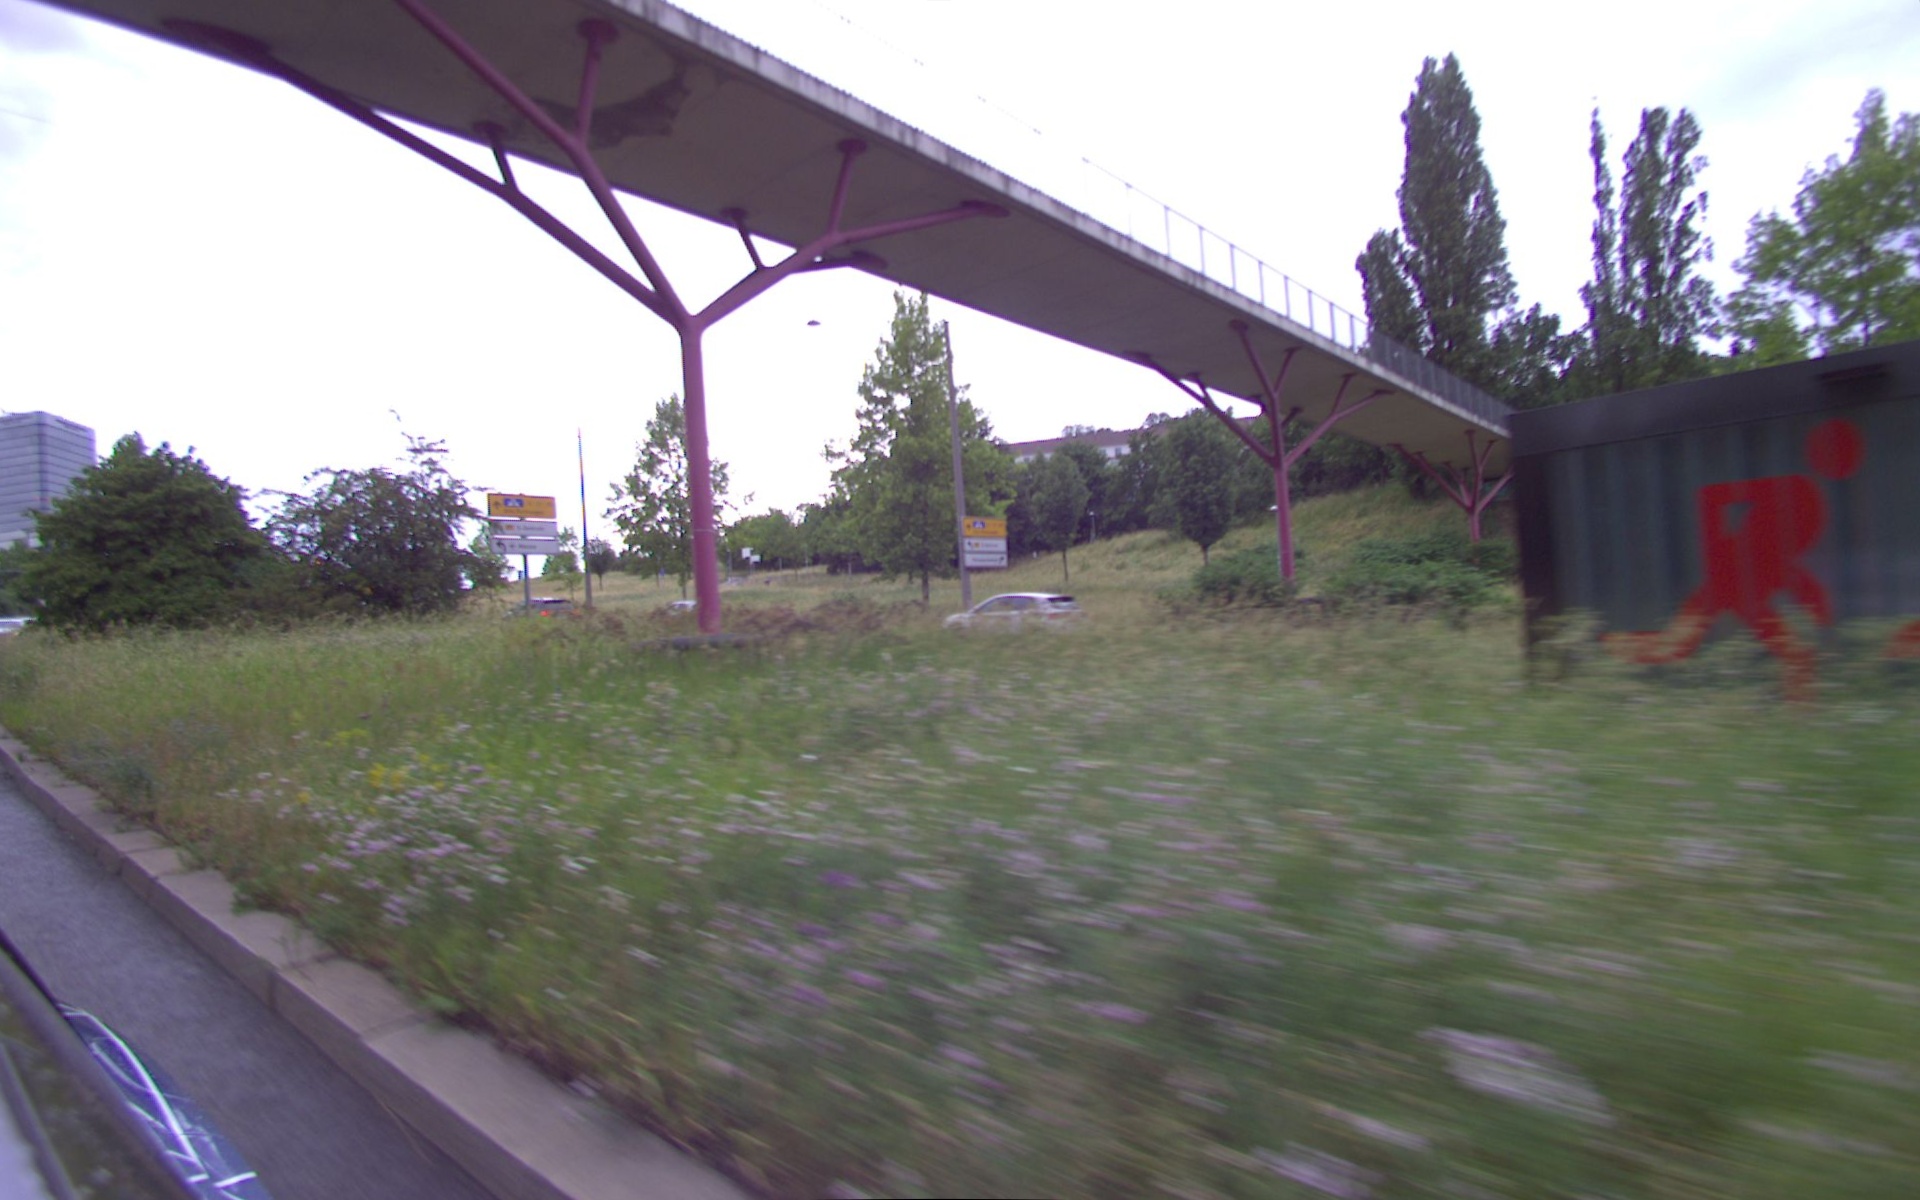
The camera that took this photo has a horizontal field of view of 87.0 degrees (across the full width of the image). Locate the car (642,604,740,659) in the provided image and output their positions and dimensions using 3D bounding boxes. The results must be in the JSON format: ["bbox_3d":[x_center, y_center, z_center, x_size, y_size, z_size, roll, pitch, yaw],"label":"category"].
[{"bbox_3d":[-11.166,1.257,41.889,3.999,2.028,1.973,-1,3,42],"label":"car"}]

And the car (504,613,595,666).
[{"bbox_3d":[-17.551,1.638,43.177,3.999,2.028,1.973,-1,3,42],"label":"car"}]

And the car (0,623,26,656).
[{"bbox_3d":[-52.972,2.183,55.550,1.967,1.785,4.009,1,-3,-36],"label":"car"}]

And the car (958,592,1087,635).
[{"bbox_3d":[1.545,0.336,25.463,3.083,0.951,1.254,-1,3,39],"label":"car"}]
